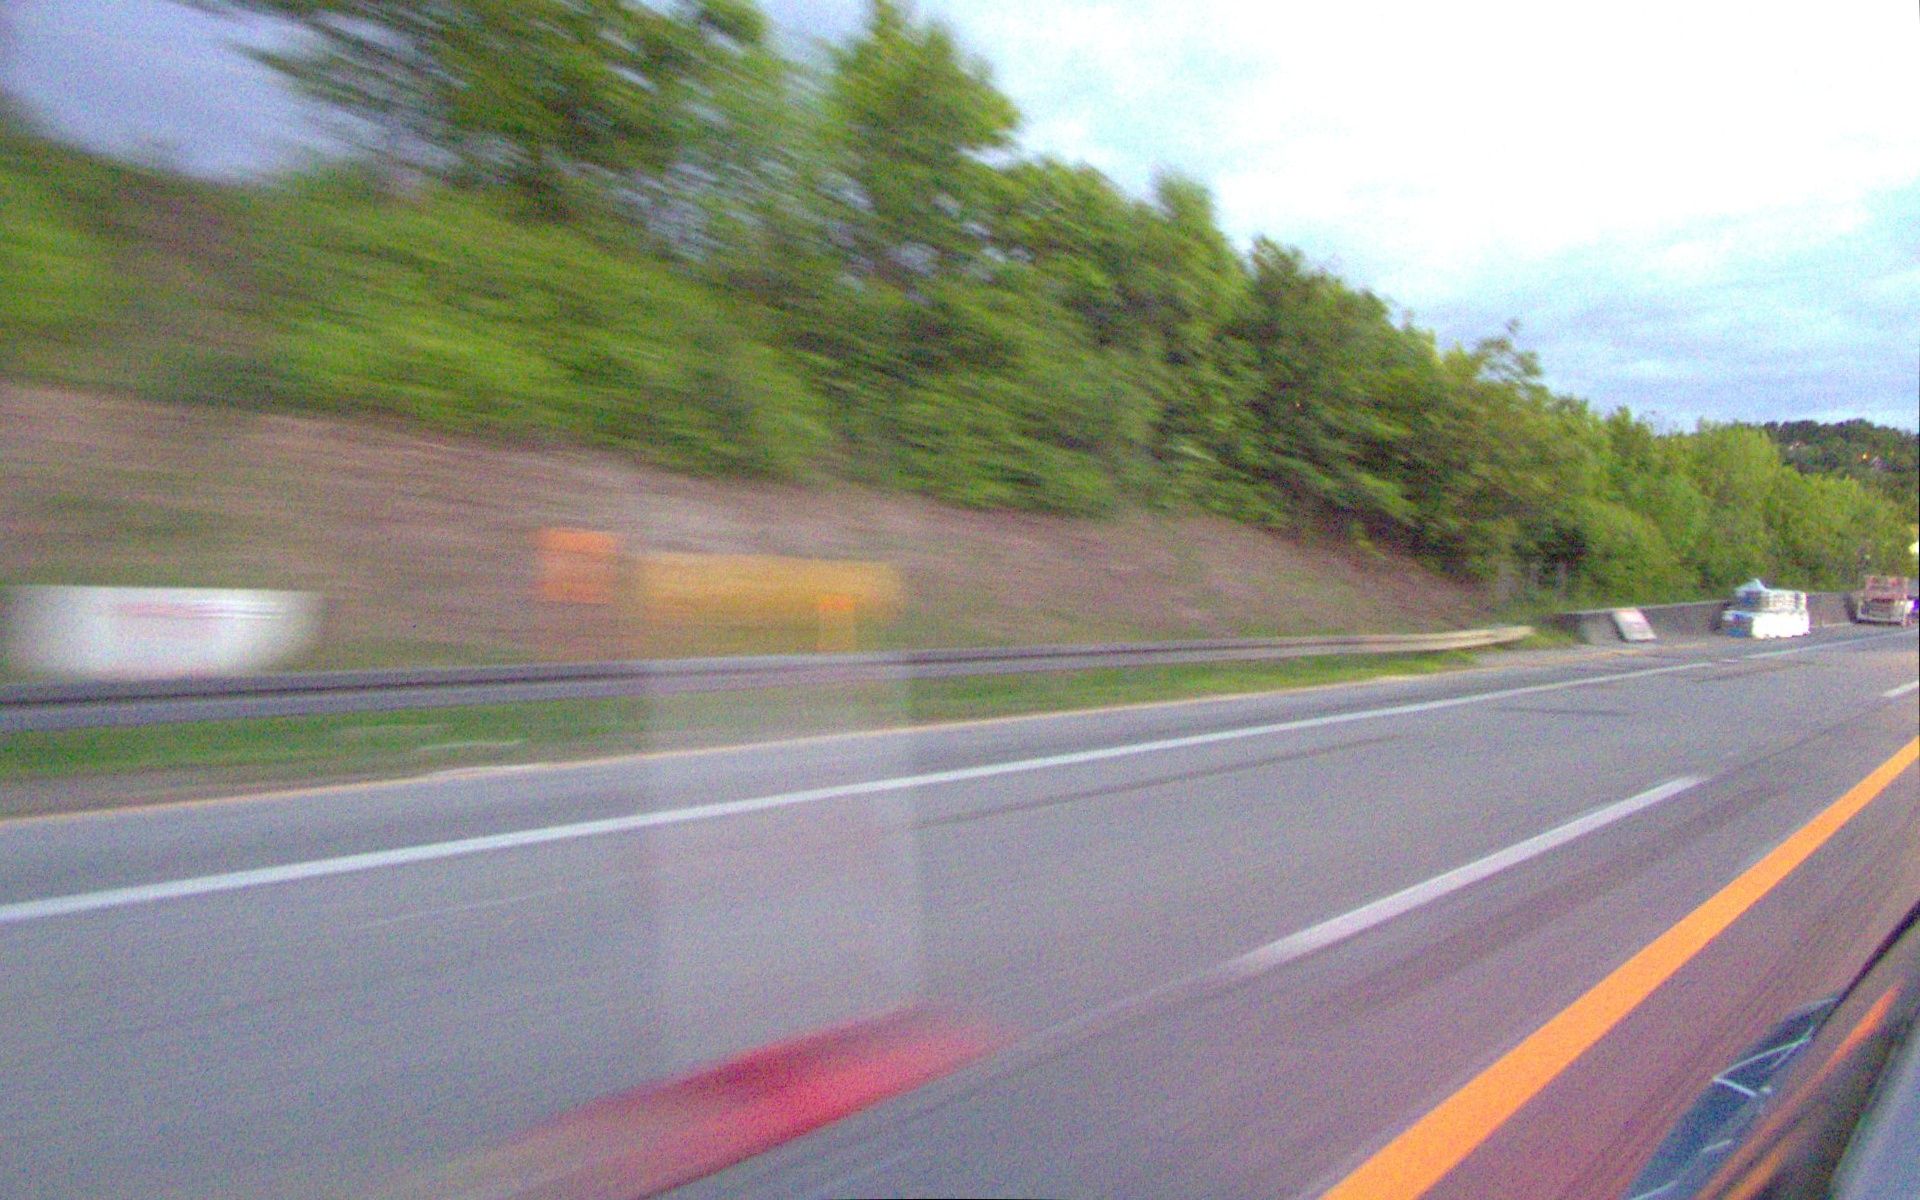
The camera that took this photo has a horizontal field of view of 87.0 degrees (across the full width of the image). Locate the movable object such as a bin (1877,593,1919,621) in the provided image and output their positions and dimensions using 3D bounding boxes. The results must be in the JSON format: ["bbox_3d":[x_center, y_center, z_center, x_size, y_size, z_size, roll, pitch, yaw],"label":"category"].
[{"bbox_3d":[60.885,0.445,65.354,4.015,1.621,1.997,-1,3,-42],"label":"movable object such as a bin"}]

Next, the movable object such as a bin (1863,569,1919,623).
[{"bbox_3d":[57.410,-0.270,61.931,5.708,3.146,2.624,0,2,-43],"label":"movable object such as a bin"}]

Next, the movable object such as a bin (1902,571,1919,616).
[{"bbox_3d":[74.228,-0.504,77.496,5.485,3.359,2.568,0,2,-43],"label":"movable object such as a bin"}]
